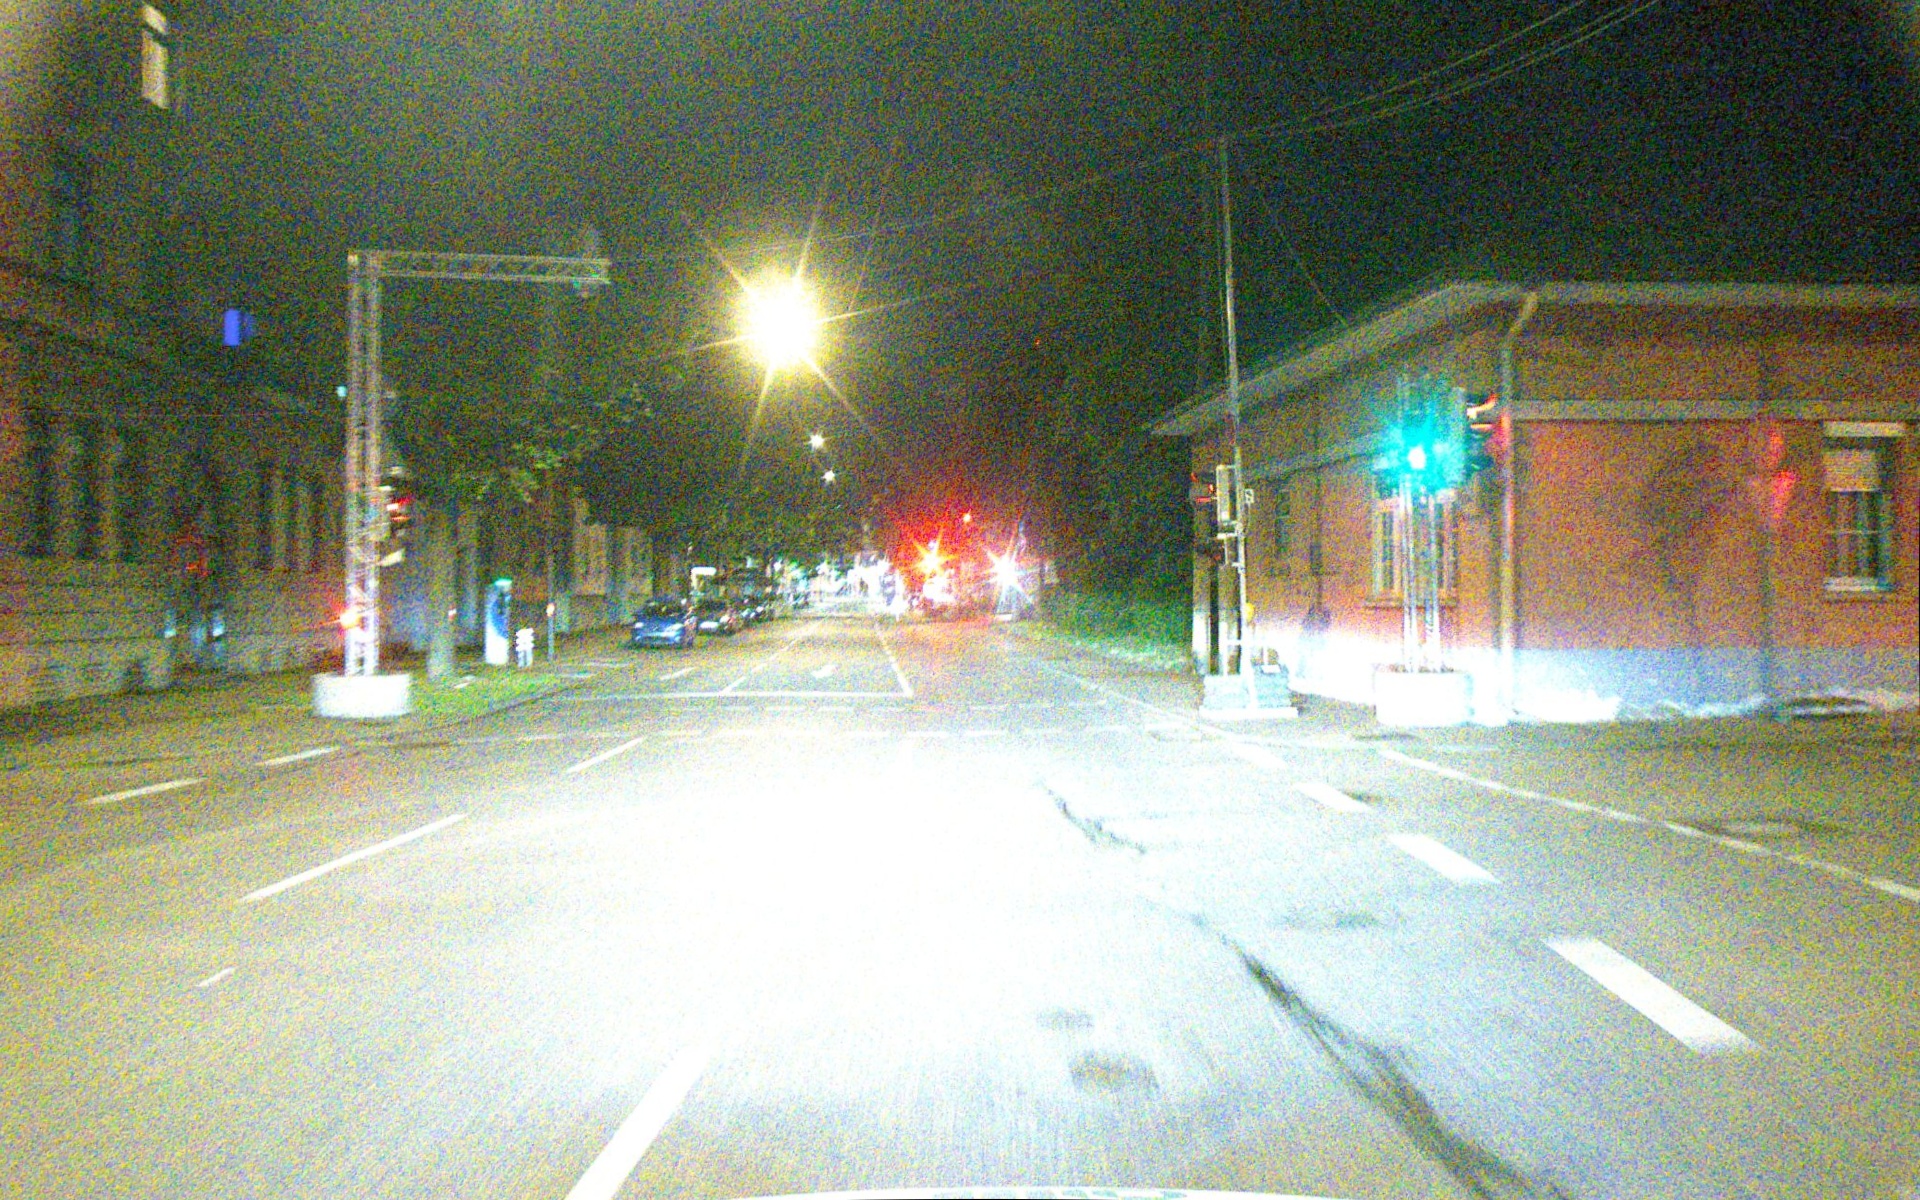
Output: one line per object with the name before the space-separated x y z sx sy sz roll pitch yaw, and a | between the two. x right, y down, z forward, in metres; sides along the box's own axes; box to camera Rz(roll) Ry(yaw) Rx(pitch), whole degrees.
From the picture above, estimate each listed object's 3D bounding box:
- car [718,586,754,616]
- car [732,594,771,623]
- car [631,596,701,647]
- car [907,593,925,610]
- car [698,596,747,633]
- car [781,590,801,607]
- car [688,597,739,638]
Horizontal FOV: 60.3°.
car | -10.844 0.028 80.225 1.591 1.407 4.446 -1 1 -6
car | -11.716 0.486 93.304 1.862 1.497 4.449 1 1 -3
car | -8.951 0.674 50.652 1.680 1.520 3.986 0 -1 -4
car | -4.079 0.098 152.291 1.618 1.456 3.999 -1 1 -2
car | -10.289 0.602 71.911 1.733 1.511 4.860 -1 1 -4
car | -15.194 -0.121 148.890 1.619 1.456 3.997 -1 1 -4
car | -9.871 0.676 66.592 1.734 1.511 4.763 -1 1 -5
